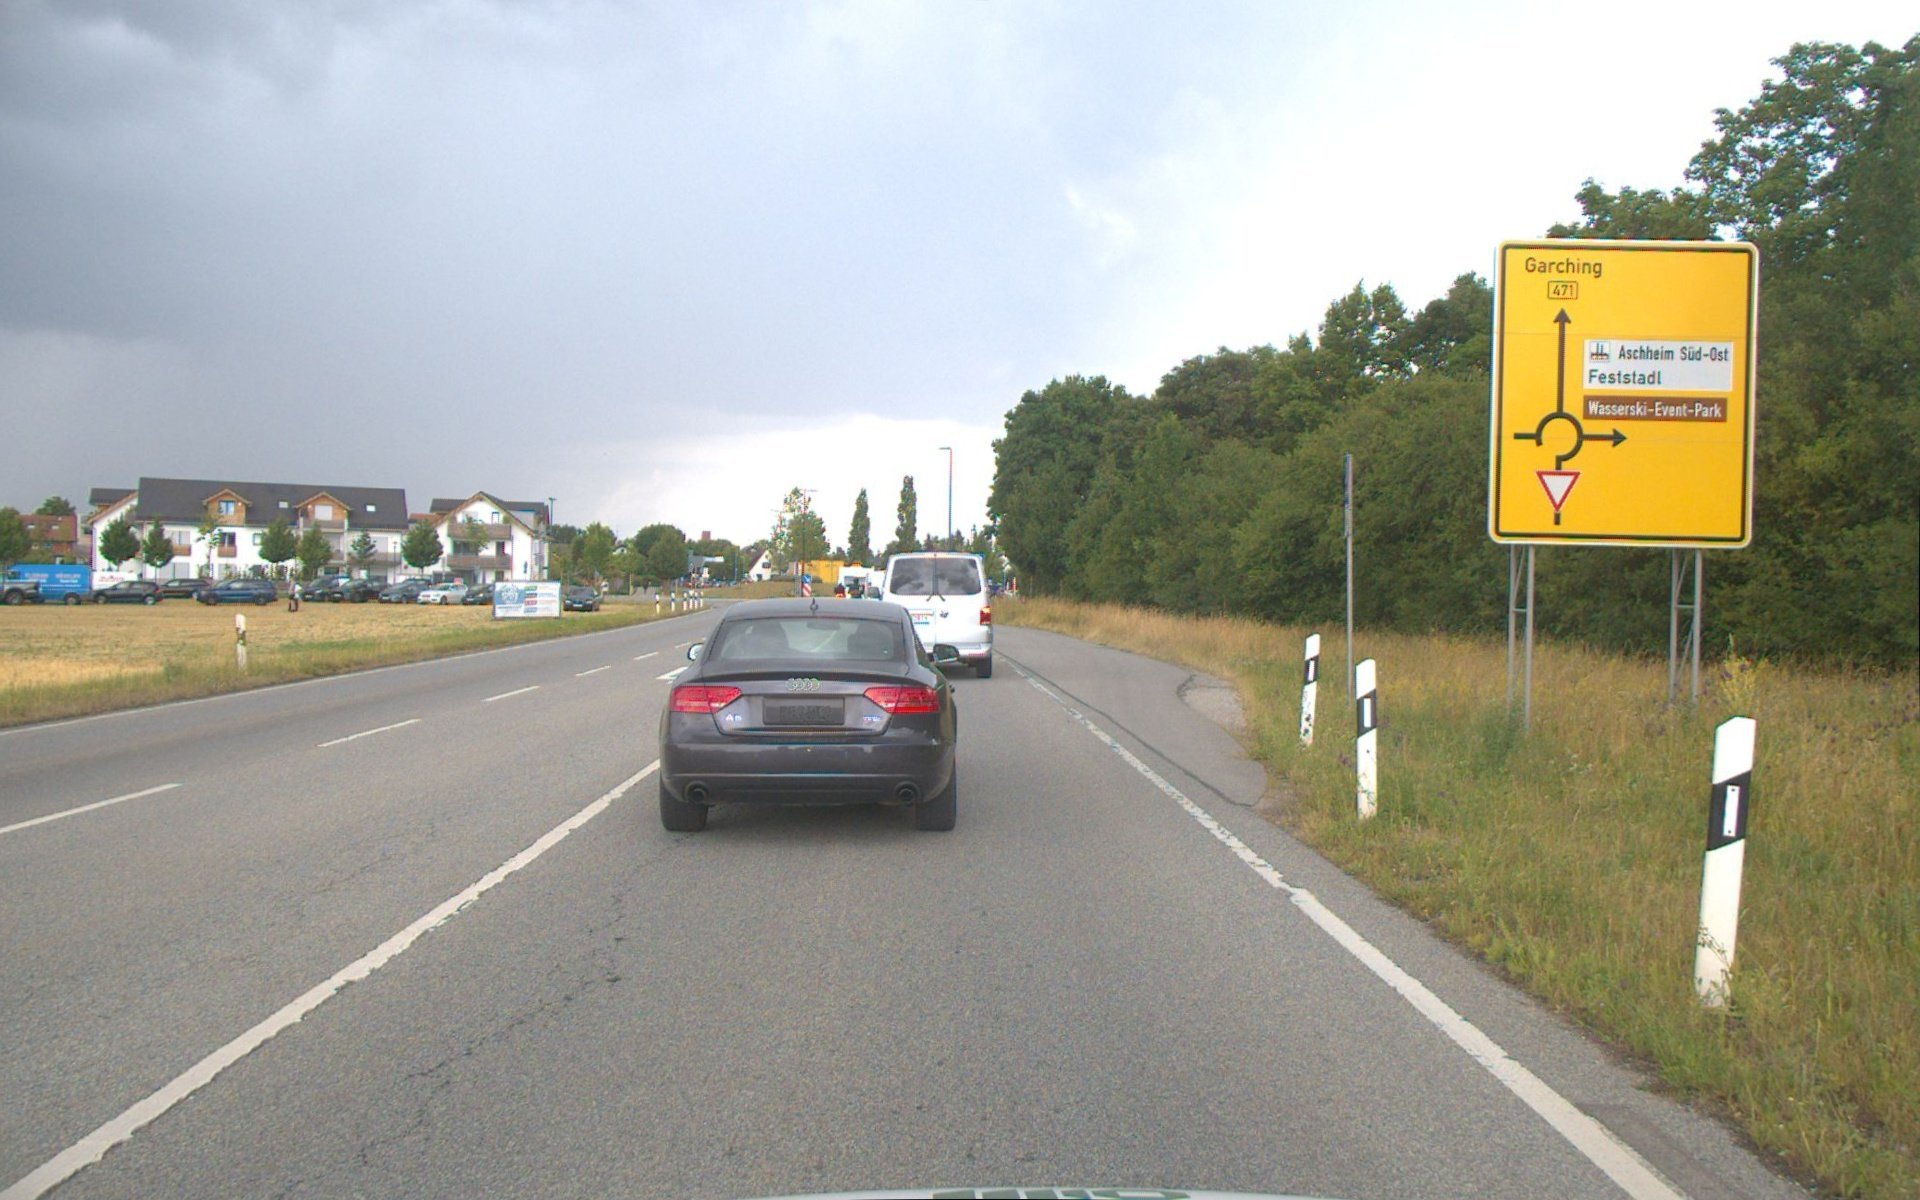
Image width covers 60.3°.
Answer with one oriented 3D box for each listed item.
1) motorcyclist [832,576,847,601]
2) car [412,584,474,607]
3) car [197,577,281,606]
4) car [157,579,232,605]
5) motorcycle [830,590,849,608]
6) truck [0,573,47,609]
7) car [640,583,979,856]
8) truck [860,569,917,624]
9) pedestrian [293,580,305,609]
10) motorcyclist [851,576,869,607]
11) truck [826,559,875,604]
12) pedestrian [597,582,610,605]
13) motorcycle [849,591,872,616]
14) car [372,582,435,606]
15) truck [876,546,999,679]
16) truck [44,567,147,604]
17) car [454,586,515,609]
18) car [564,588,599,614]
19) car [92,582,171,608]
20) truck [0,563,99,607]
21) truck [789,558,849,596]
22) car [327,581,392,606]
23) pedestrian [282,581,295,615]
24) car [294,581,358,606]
[{"bbox_3d":[-6.892,-0.659,94.479,0.771,1.380,0.852,1,0,-8],"label":"motorcyclist"},{"bbox_3d":[-34.284,-0.313,109.716,1.951,1.471,4.214,1,0,16],"label":"car"},{"bbox_3d":[-44.611,-0.541,102.448,4.651,1.727,1.986,0,0,-23],"label":"car"},{"bbox_3d":[-52.692,-0.542,113.869,4.562,1.727,1.986,0,0,-23],"label":"car"},{"bbox_3d":[-6.893,-0.057,94.482,0.926,1.037,2.280,1,0,-8],"label":"motorcycle"},{"bbox_3d":[-53.175,-0.488,90.948,5.168,1.954,2.092,0,0,-29],"label":"truck"},{"bbox_3d":[-0.907,0.631,11.096,1.837,1.479,4.175,0,0,-3],"label":"car"},{"bbox_3d":[-2.783,-0.139,65.444,2.149,2.049,5.083,1,0,-2],"label":"truck"},{"bbox_3d":[-36.506,-0.300,91.311,0.581,1.582,0.622,0,0,-21],"label":"pedestrian"},{"bbox_3d":[-4.564,-0.380,75.512,0.756,1.407,0.820,1,0,0],"label":"motorcyclist"},{"bbox_3d":[-7.026,-1.173,105.783,2.578,2.785,5.855,1,0,-9],"label":"truck"},{"bbox_3d":[-25.399,-0.472,117.853,0.686,1.613,0.658,1,0,15],"label":"pedestrian"},{"bbox_3d":[-4.554,0.157,75.659,0.901,1.113,2.188,1,0,0],"label":"motorcycle"},{"bbox_3d":[-37.036,-0.411,110.114,1.951,1.562,4.214,1,0,16],"label":"car"},{"bbox_3d":[-0.420,0.166,27.766,1.866,2.033,4.627,1,1,-2],"label":"truck"},{"bbox_3d":[-53.562,-0.870,102.661,5.494,2.235,2.586,0,0,-25],"label":"truck"},{"bbox_3d":[-31.462,-0.199,109.532,1.951,1.471,4.214,1,0,16],"label":"car"},{"bbox_3d":[-22.295,0.046,97.527,1.959,1.467,3.987,1,1,-13],"label":"car"},{"bbox_3d":[-50.014,-0.293,99.974,4.098,1.545,1.986,0,0,-23],"label":"car"},{"bbox_3d":[-52.648,-0.842,95.155,5.379,2.488,2.375,0,0,-25],"label":"truck"},{"bbox_3d":[-14.310,-2.361,167.309,3.524,3.640,9.898,1,1,-20],"label":"truck"},{"bbox_3d":[-40.110,-0.456,110.575,1.951,1.657,4.214,1,0,16],"label":"car"},{"bbox_3d":[-36.589,-0.107,90.111,0.539,1.817,0.676,0,0,-14],"label":"pedestrian"},{"bbox_3d":[-43.107,-0.474,112.531,1.951,1.657,4.214,1,0,16],"label":"car"}]
